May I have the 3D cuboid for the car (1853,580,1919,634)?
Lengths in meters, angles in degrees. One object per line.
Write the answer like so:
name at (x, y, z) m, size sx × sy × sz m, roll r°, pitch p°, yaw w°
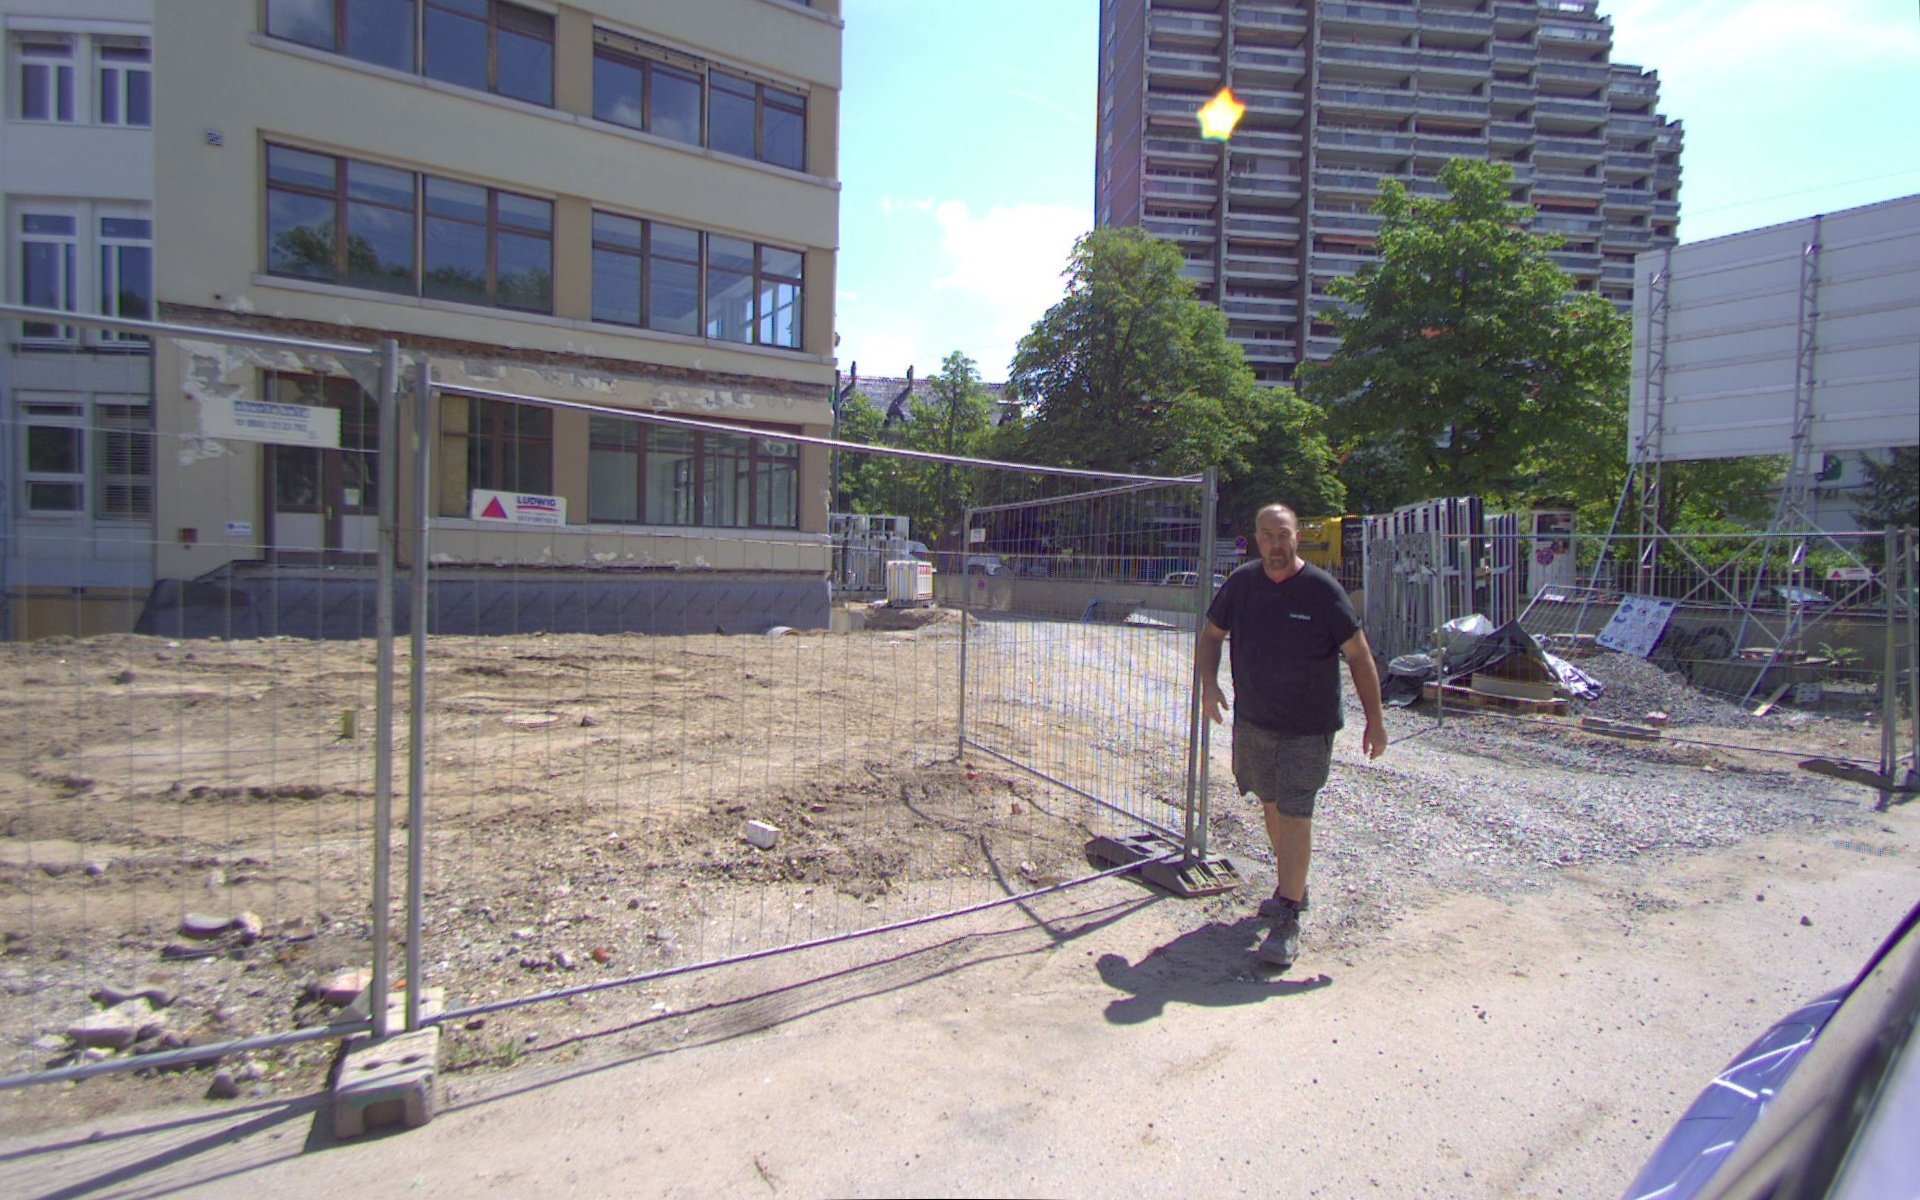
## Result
car at (27.725, 0.194, 28.844) m, size 1.794 × 1.481 × 4.003 m, roll 2°, pitch 2°, yaw 16°

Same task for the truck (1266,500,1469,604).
truck at (17.533, -2.083, 44.640) m, size 2.693 × 4.055 × 9.769 m, roll 0°, pitch 2°, yaw -17°

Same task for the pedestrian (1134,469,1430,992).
pedestrian at (1.351, 0.440, 4.199) m, size 0.865 × 1.842 × 0.955 m, roll 3°, pitch 2°, yaw 37°

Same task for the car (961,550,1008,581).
car at (1.713, -2.393, 70.324) m, size 1.977 × 2.038 × 3.972 m, roll 2°, pitch 2°, yaw 22°

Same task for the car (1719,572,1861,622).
car at (25.895, -0.141, 31.742) m, size 1.604 × 1.390 × 4.012 m, roll 2°, pitch 2°, yaw 10°

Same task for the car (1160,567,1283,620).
car at (7.987, -0.232, 31.202) m, size 1.590 × 1.457 × 3.589 m, roll 1°, pitch 2°, yaw -29°
